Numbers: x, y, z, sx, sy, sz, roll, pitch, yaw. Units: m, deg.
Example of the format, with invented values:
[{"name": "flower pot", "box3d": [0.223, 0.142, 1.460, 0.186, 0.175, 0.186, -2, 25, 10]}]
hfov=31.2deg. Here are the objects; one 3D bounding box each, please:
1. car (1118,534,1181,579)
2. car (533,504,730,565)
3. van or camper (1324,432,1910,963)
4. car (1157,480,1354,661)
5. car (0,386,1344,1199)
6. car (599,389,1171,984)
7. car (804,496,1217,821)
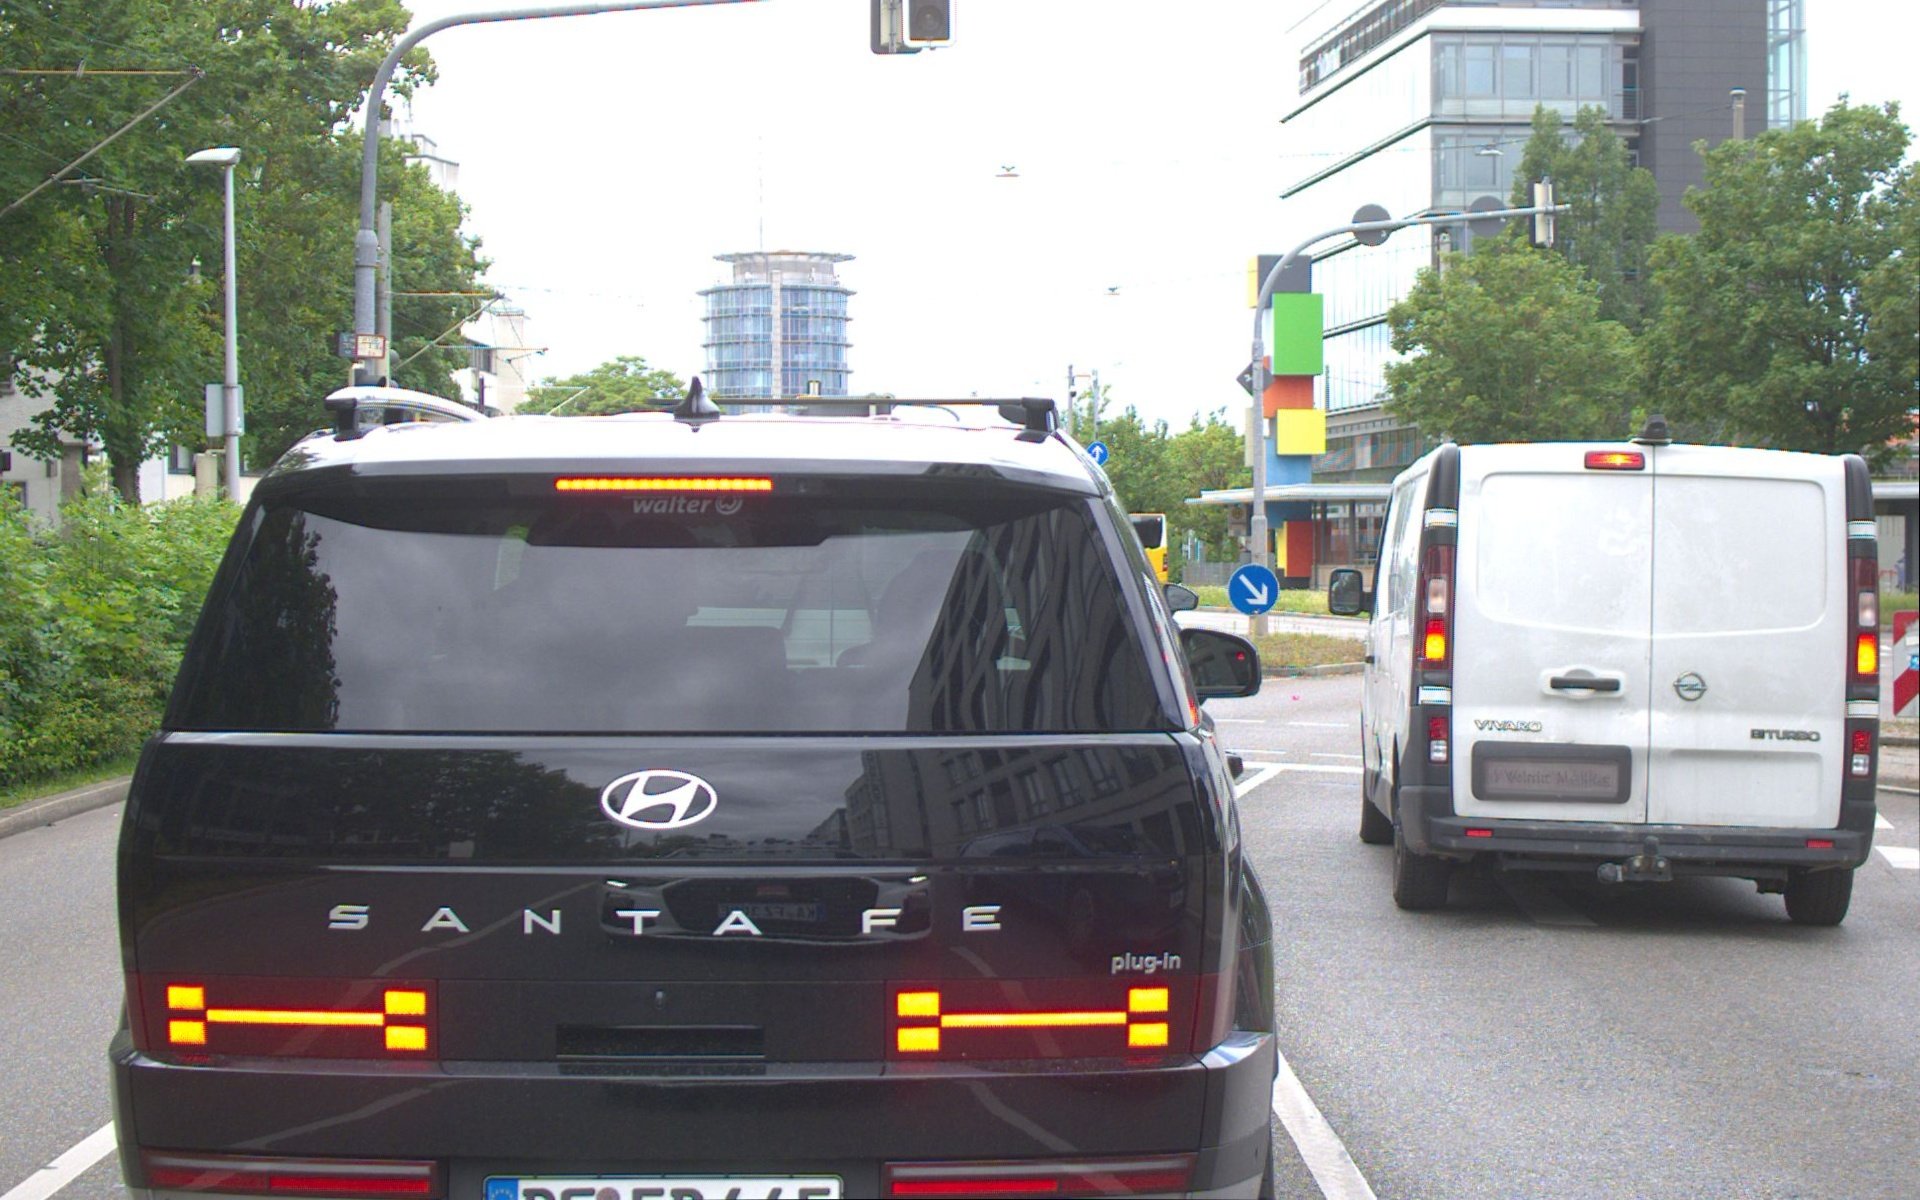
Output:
[{"name": "car", "box3d": [7.243, -1.648, 131.808, 1.993, 1.678, 4.000, 0, 0, -3]}, {"name": "car", "box3d": [-8.954, -1.778, 93.761, 5.281, 1.590, 2.000, 0, 0, -6]}, {"name": "van or camper", "box3d": [2.749, 0.329, 15.448, 1.994, 2.007, 4.652, 1, 1, 4]}, {"name": "car", "box3d": [3.428, -0.348, 40.542, 1.993, 2.007, 4.000, 0, 0, 1]}, {"name": "car", "box3d": [-0.436, 0.558, 6.572, 1.869, 1.754, 3.880, 0, 1, -1]}, {"name": "car", "box3d": [-0.275, 0.256, 13.499, 1.915, 1.996, 3.880, 0, 1, -1]}, {"name": "car", "box3d": [0.421, 0.291, 20.496, 1.776, 1.711, 4.336, 1, 0, 10]}]
